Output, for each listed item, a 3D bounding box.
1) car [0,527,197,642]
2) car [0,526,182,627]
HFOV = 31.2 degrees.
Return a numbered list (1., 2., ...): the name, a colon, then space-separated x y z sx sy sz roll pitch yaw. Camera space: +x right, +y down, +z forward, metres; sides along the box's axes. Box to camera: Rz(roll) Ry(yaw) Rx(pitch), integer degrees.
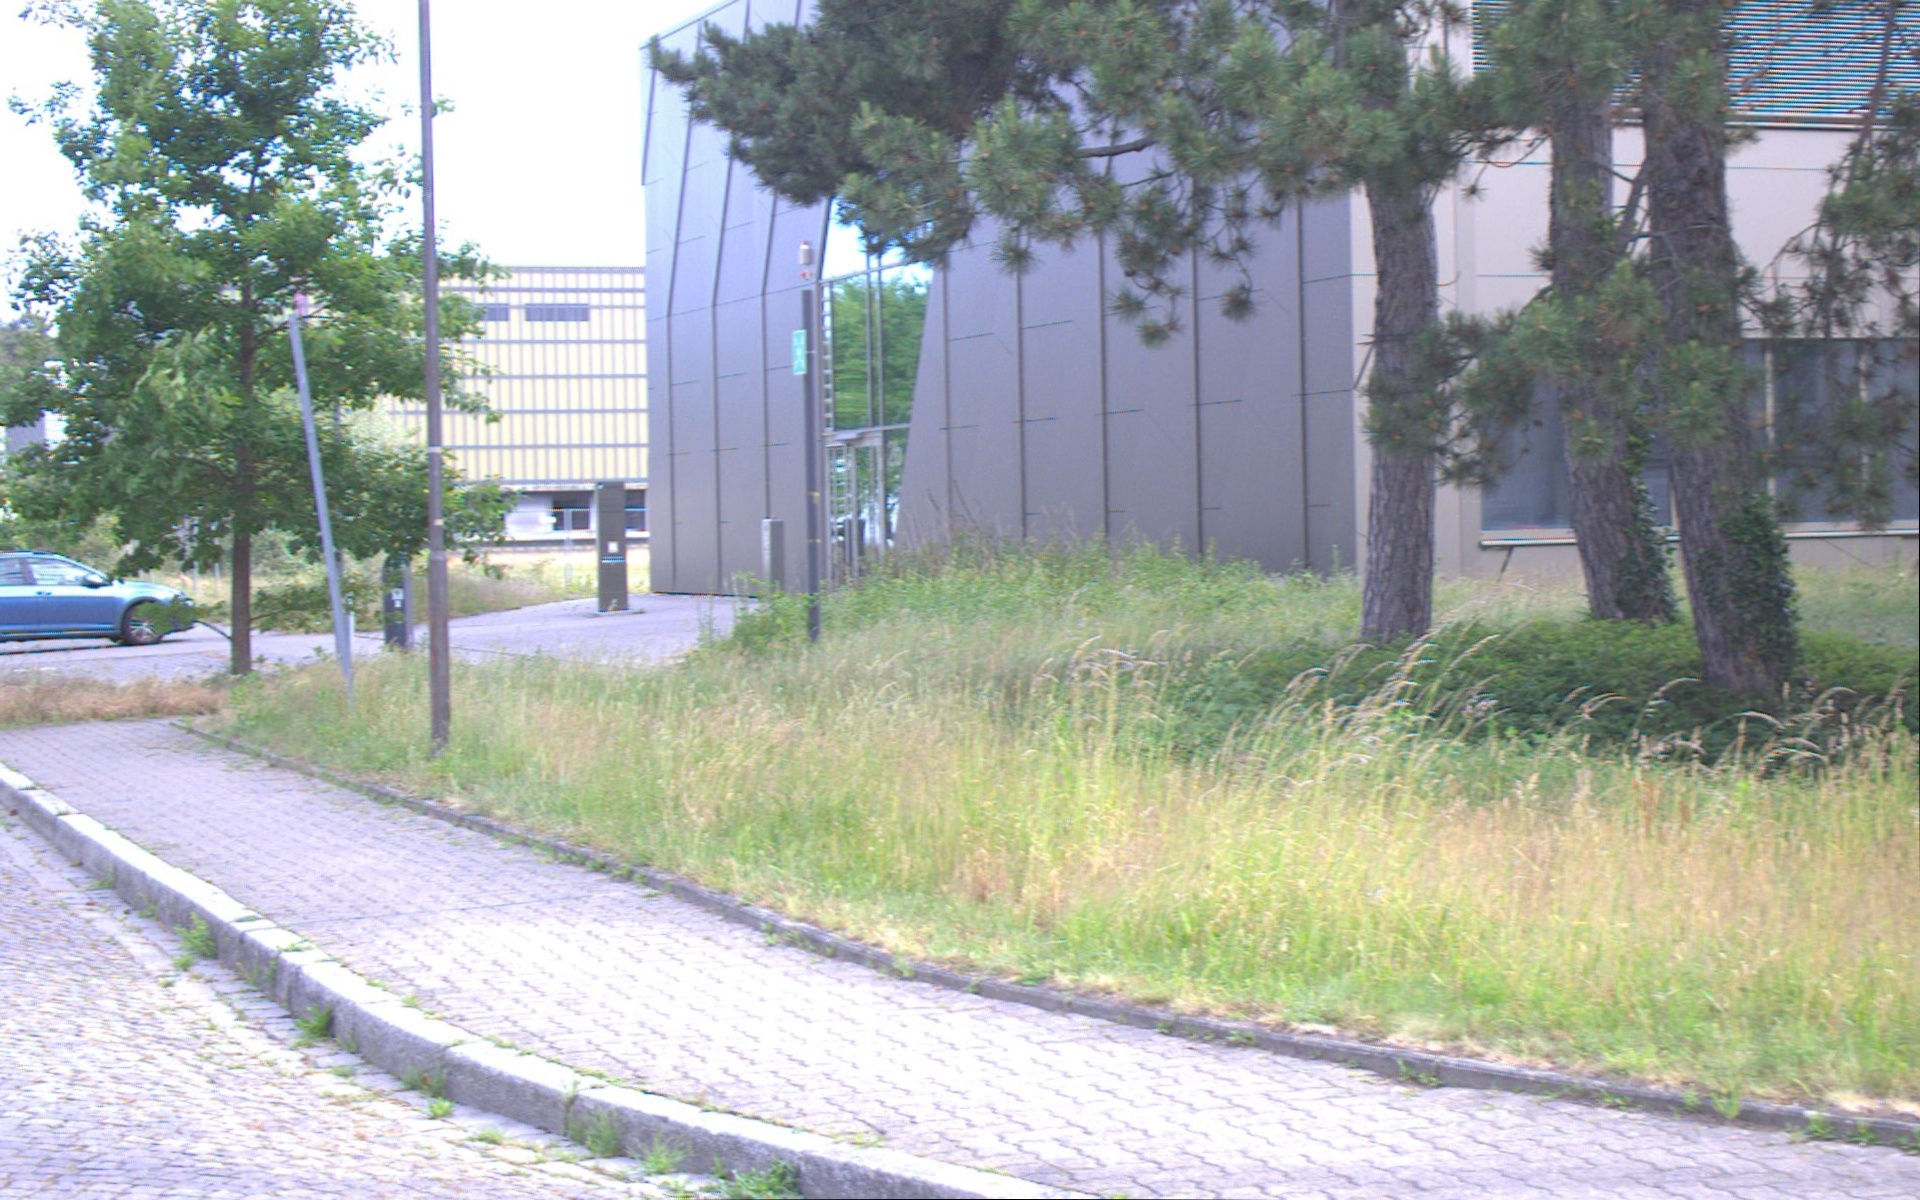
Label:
1. car: -13.662 -0.210 50.243 4.517 1.526 2.000 -3 2 -24
2. car: -15.460 -0.367 57.430 4.517 1.526 2.001 -3 2 -20
